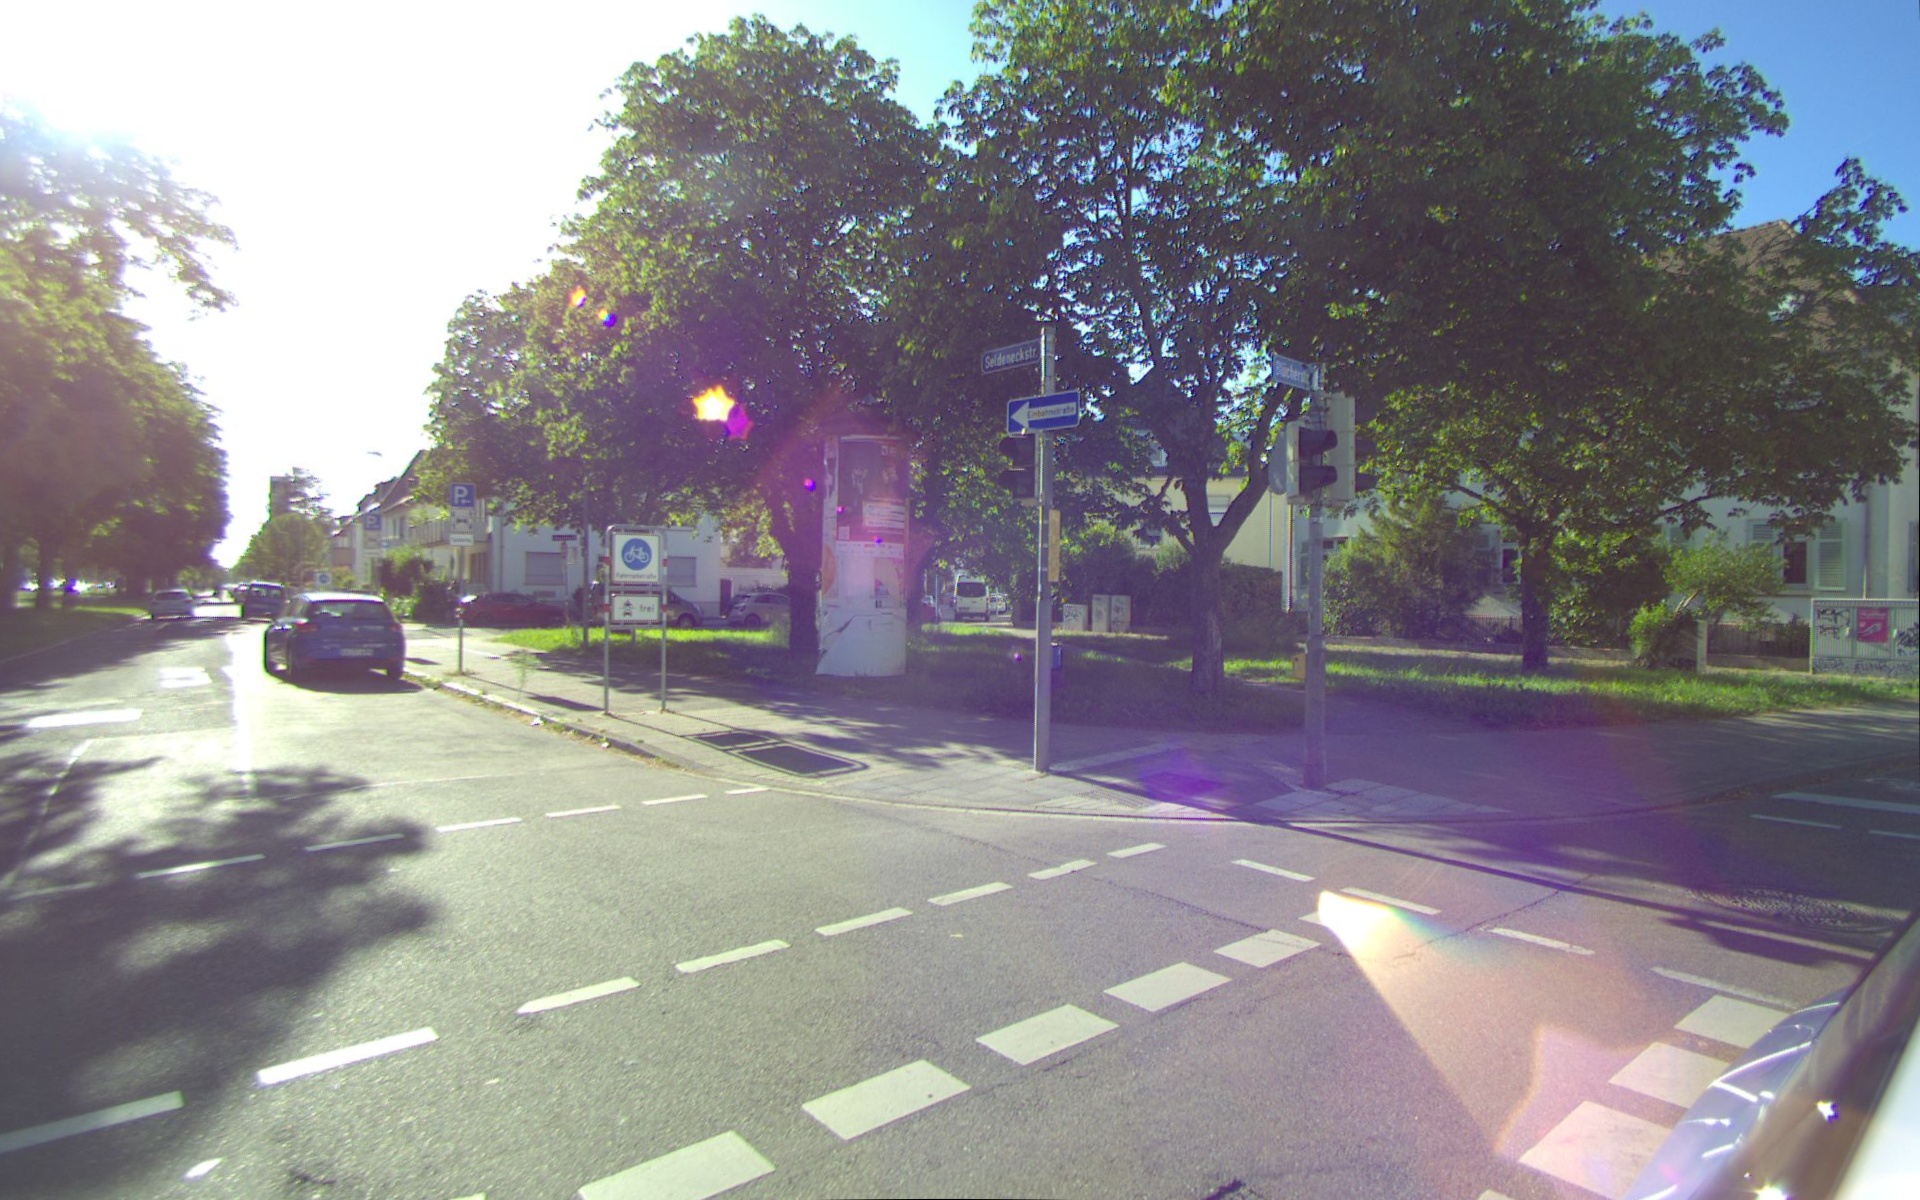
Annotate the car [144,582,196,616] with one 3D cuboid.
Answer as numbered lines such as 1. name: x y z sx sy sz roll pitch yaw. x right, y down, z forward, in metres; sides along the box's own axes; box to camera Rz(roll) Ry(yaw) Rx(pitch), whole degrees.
1. car: -36.934 -0.014 47.359 1.641 1.451 3.894 -2 0 -34

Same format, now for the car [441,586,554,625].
1. car: -18.608 0.232 40.768 3.824 1.490 1.758 1 0 -37

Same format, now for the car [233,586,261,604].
1. car: -58.504 -0.418 83.000 1.791 1.451 3.999 1 0 -37

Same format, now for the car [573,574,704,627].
1. car: -11.949 0.036 37.670 4.259 1.859 1.923 1 0 -35

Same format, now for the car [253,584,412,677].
1. car: -11.260 0.467 18.049 1.785 1.451 3.994 1 0 -41

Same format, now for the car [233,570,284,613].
1. car: -32.424 -0.354 46.734 1.783 1.848 3.997 -2 0 -37

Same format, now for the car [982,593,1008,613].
1. car: 2.742 0.194 79.164 1.729 1.490 3.890 1 0 6

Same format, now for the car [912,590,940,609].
1. car: -2.749 -0.071 82.347 1.729 1.490 3.890 1 0 6

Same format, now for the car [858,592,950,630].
1. car: -2.430 0.519 44.836 1.599 1.554 4.221 1 -1 39

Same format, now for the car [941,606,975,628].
1. car: -0.101 1.177 72.631 1.731 1.490 3.885 1 0 10

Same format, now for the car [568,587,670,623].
1. car: -14.784 0.201 43.963 3.824 1.490 1.758 1 0 -37

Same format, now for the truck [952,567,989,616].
1. truck: 0.589 -0.500 57.025 1.963 2.608 4.979 1 0 1

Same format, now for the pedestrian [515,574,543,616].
1. pedestrian: -18.826 -0.204 44.198 0.883 1.792 1.024 1 -2 -37

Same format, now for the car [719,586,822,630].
1. car: -7.636 0.313 40.735 3.638 1.668 1.925 1 0 -30

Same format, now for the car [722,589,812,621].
1. car: -9.154 0.237 48.059 3.822 1.490 1.759 1 0 -35
